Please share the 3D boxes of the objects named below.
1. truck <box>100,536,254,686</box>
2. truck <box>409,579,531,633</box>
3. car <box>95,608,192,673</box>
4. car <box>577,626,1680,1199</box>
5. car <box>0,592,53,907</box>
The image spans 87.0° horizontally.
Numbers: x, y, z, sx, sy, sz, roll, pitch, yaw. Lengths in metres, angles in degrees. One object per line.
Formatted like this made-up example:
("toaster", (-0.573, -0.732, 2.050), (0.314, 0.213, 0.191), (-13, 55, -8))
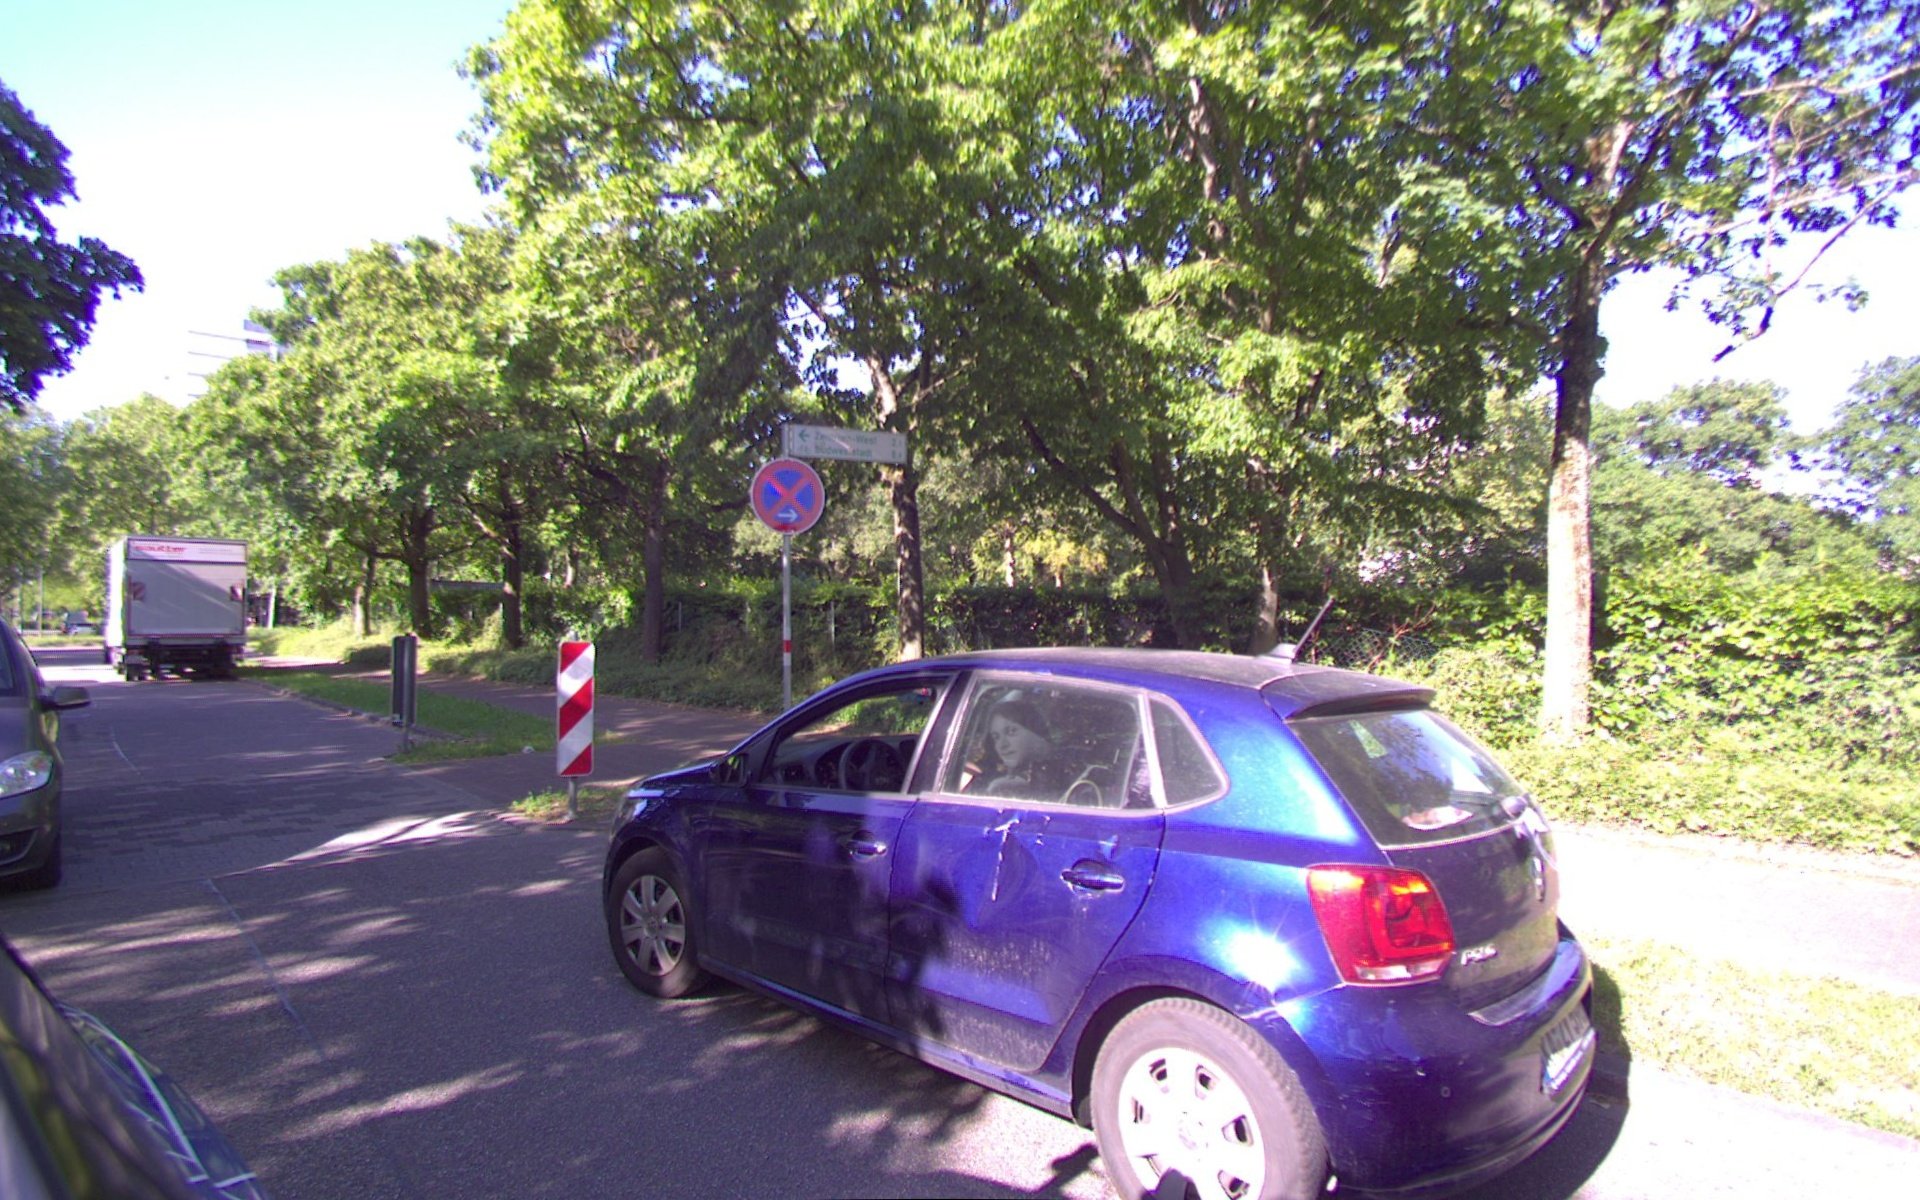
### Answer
("truck", (-22.369, 0.351, 28.715), (2.702, 3.669, 8.109), (1, -2, -43))
("truck", (-19.873, 0.307, 41.111), (3.941, 2.029, 2.205), (3, -3, -45))
("car", (-29.053, 1.381, 35.911), (2.094, 2.112, 6.589), (1, -2, -44))
("car", (0.245, 0.831, 3.653), (3.652, 1.437, 1.583), (-1, -3, 43))
("car", (-6.737, 0.788, 6.100), (1.710, 1.599, 4.003), (1, -2, -44))
